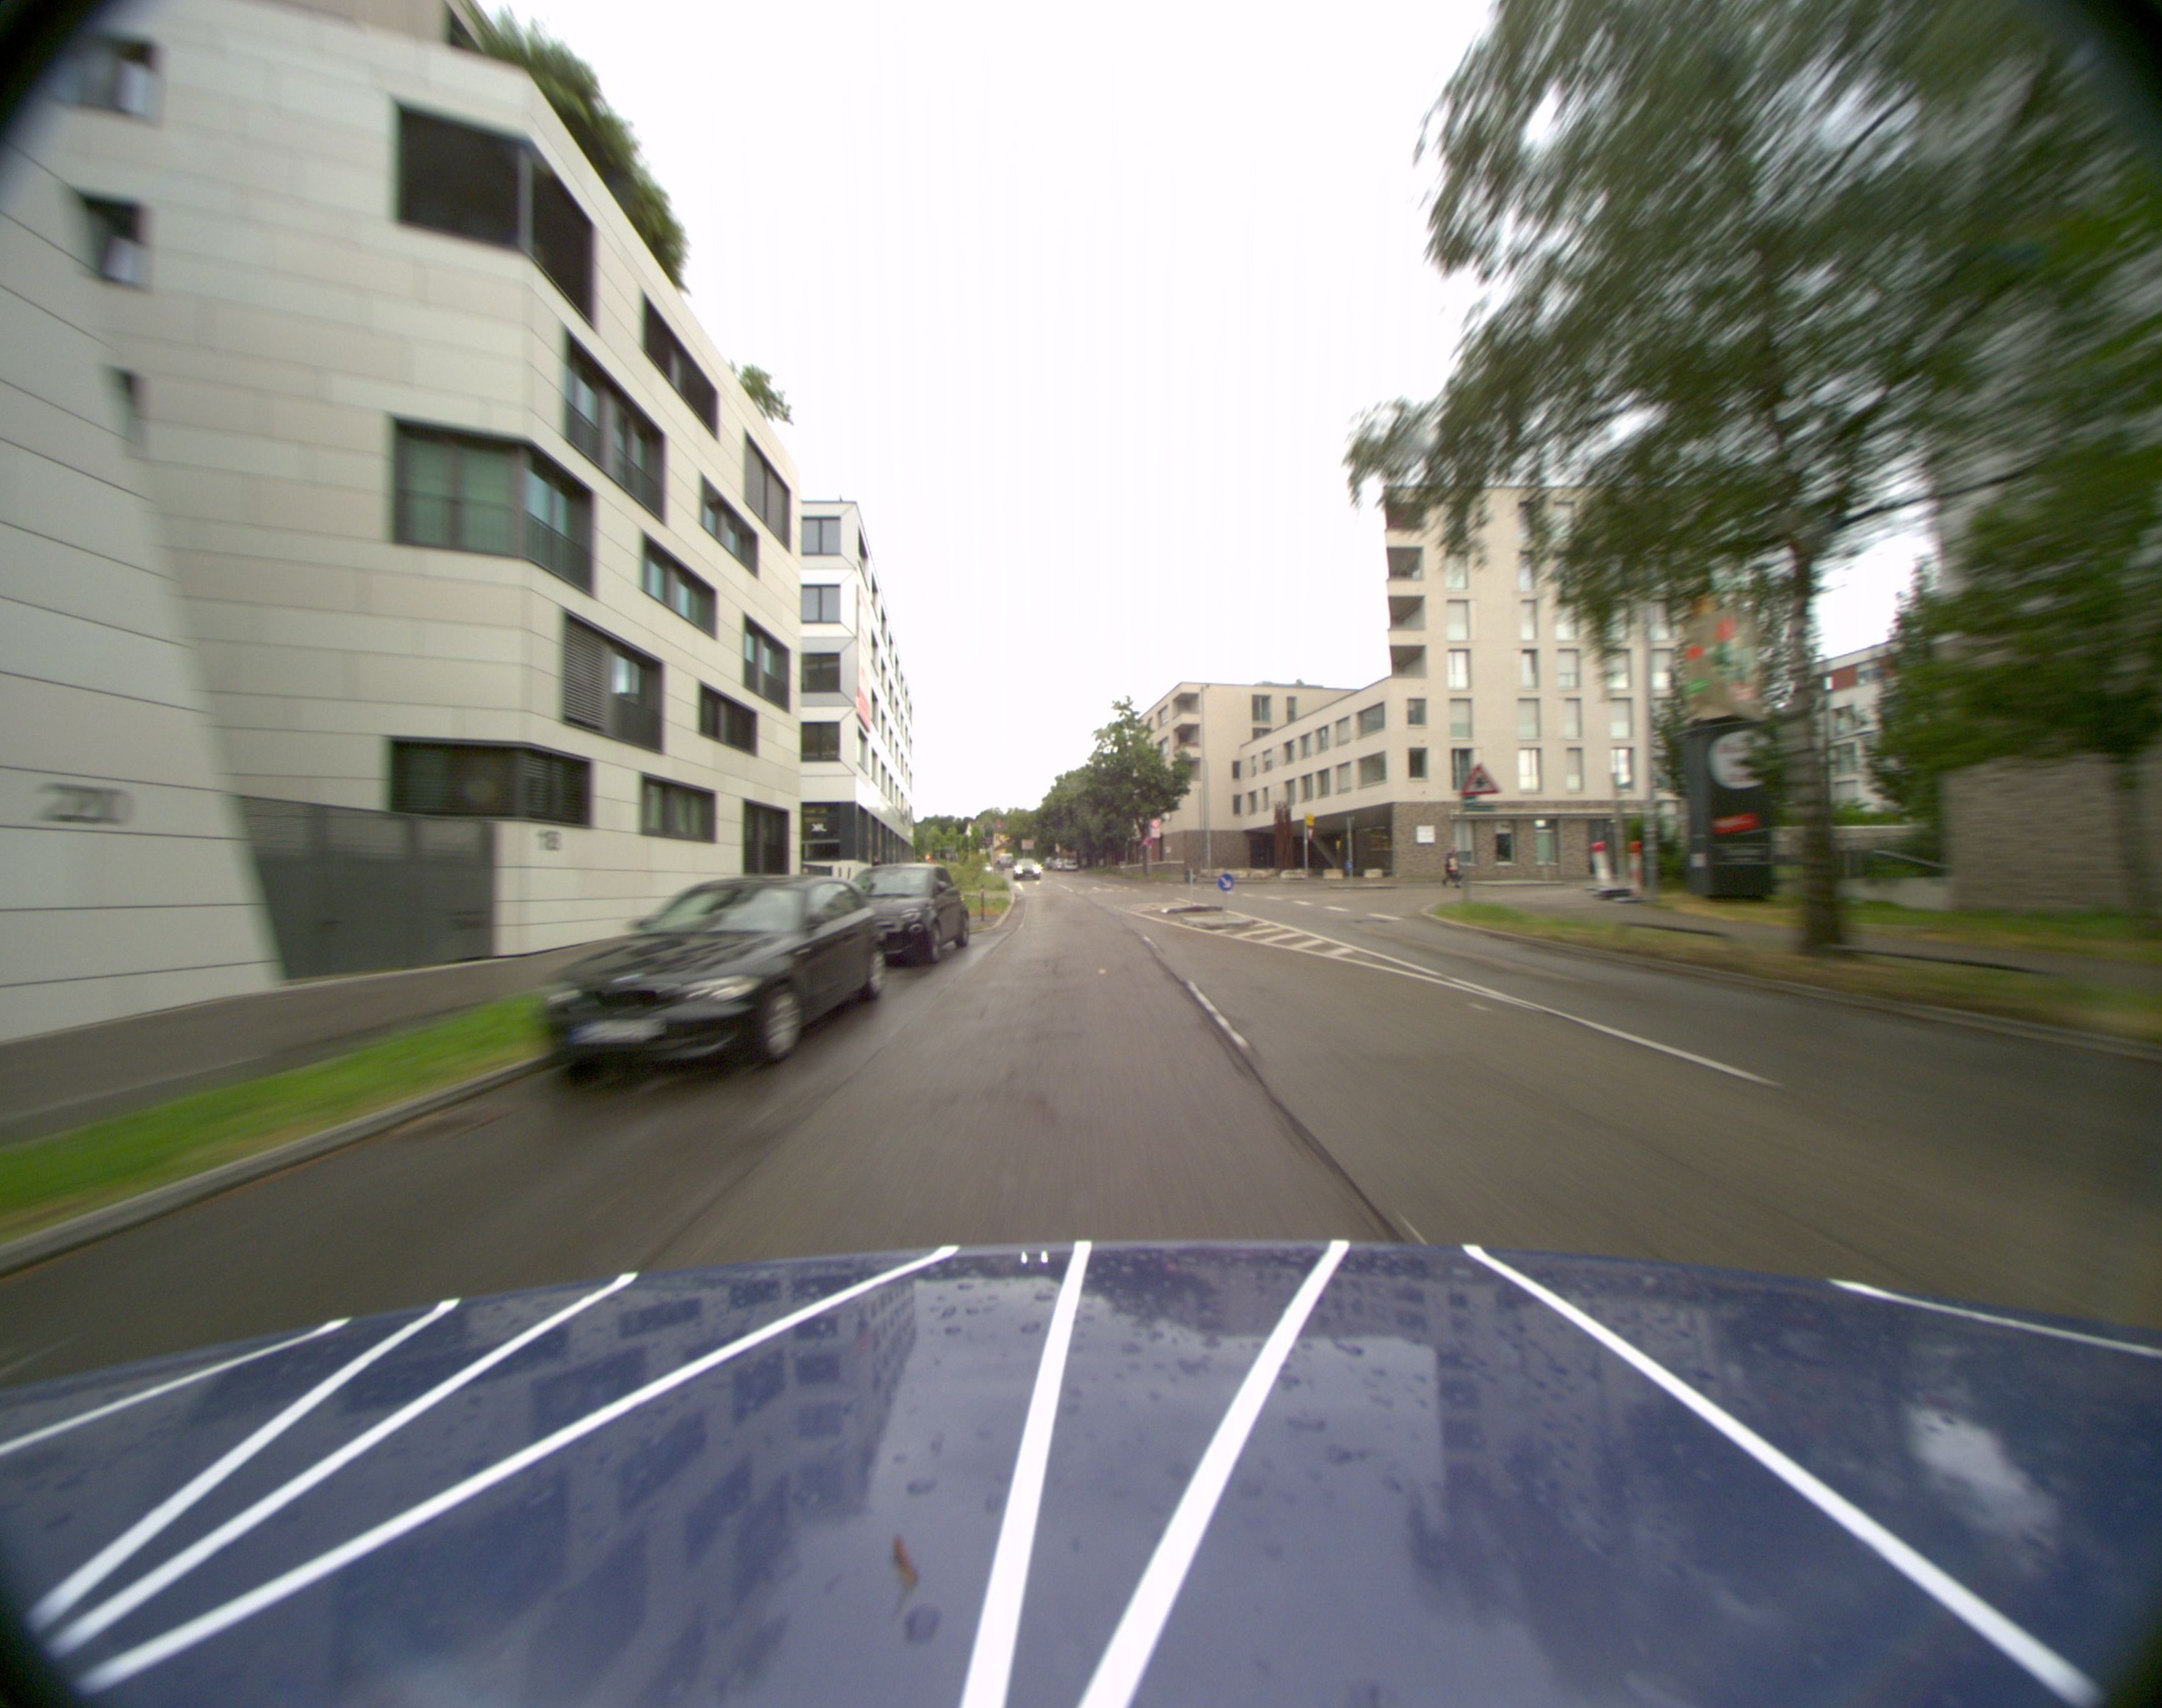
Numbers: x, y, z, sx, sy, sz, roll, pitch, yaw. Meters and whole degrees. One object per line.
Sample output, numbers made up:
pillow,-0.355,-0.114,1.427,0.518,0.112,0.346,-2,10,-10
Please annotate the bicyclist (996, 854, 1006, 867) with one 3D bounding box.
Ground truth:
bicyclist,-9.684,0.771,91.993,1.201,1.514,0.803,-2,2,-4

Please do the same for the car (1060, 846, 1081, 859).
car,-1.275,-0.167,93.232,1.886,1.454,3.842,-2,1,-12

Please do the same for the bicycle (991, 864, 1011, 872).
bicycle,-9.686,1.701,92.022,2.253,0.973,0.804,-2,2,-3

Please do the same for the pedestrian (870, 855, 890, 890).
pedestrian,-10.621,0.982,40.162,0.825,1.786,1.207,0,1,-4

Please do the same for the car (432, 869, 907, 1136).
car,-3.109,0.988,7.044,1.812,1.476,4.494,-2,1,2

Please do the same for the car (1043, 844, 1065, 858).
car,-3.695,-0.399,102.976,2.001,1.776,5.403,-2,1,-13

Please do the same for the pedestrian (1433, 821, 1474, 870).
pedestrian,15.809,-0.357,32.254,1.060,2.002,1.097,-2,2,-28

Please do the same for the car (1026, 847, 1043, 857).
car,-7.427,-0.368,119.894,2.001,1.462,4.180,-2,1,-12

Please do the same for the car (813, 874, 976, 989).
car,-2.838,1.125,12.334,1.549,1.470,3.661,-1,0,3

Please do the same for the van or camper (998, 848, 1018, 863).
van or camper,-13.536,0.298,140.598,2.349,2.749,6.132,-2,1,-18

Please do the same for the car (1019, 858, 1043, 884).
car,-4.059,1.351,62.168,1.848,1.961,4.341,-2,1,-4
